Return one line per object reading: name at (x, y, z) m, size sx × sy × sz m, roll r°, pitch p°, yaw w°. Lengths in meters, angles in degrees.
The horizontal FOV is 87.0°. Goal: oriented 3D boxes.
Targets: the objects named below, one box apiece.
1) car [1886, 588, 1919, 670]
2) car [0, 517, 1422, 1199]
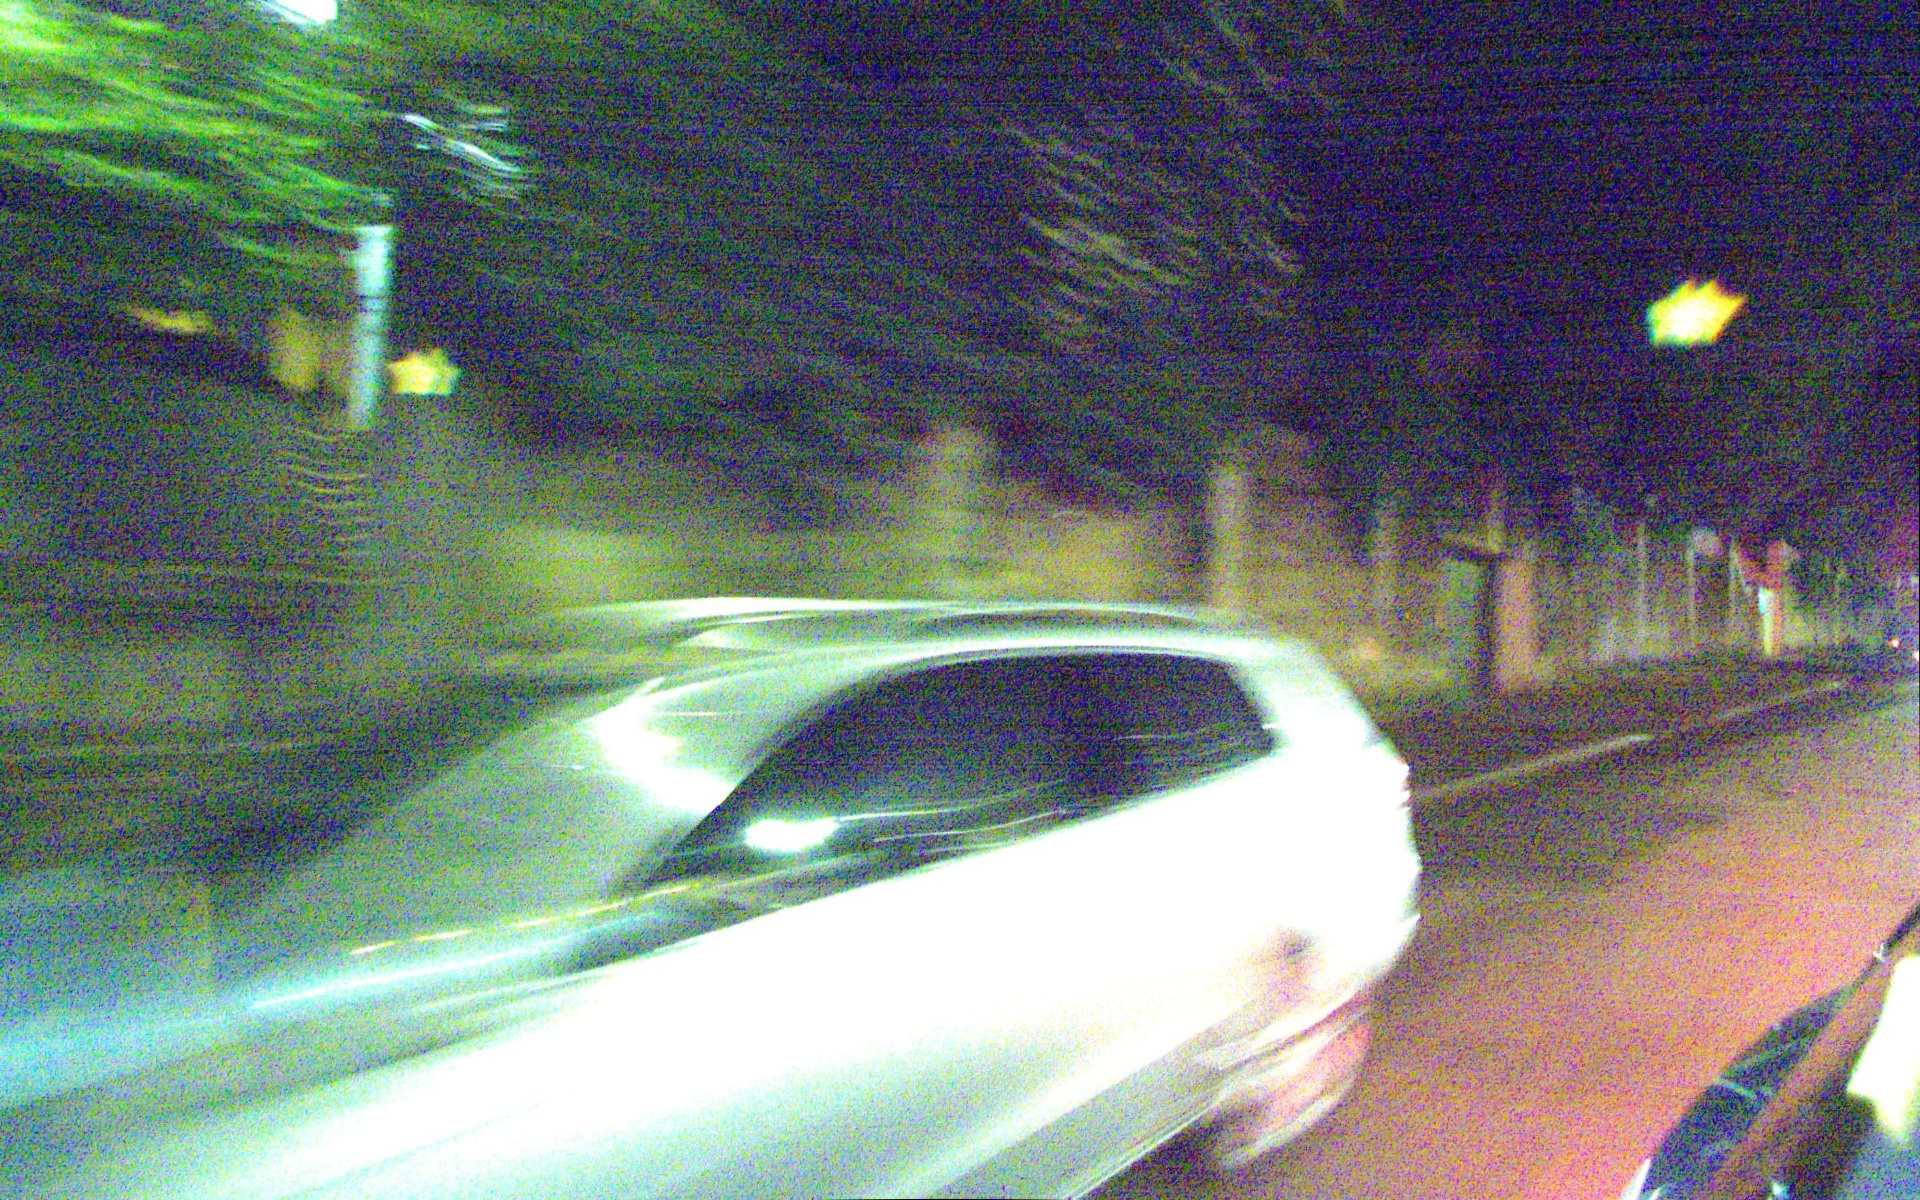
car at (21.660, 0.595, 21.827) m, size 4.535 × 1.685 × 1.836 m, roll 0°, pitch 0°, yaw -39°
car at (-0.677, 0.693, 2.340) m, size 4.205 × 1.495 × 1.764 m, roll 0°, pitch -2°, yaw -44°
